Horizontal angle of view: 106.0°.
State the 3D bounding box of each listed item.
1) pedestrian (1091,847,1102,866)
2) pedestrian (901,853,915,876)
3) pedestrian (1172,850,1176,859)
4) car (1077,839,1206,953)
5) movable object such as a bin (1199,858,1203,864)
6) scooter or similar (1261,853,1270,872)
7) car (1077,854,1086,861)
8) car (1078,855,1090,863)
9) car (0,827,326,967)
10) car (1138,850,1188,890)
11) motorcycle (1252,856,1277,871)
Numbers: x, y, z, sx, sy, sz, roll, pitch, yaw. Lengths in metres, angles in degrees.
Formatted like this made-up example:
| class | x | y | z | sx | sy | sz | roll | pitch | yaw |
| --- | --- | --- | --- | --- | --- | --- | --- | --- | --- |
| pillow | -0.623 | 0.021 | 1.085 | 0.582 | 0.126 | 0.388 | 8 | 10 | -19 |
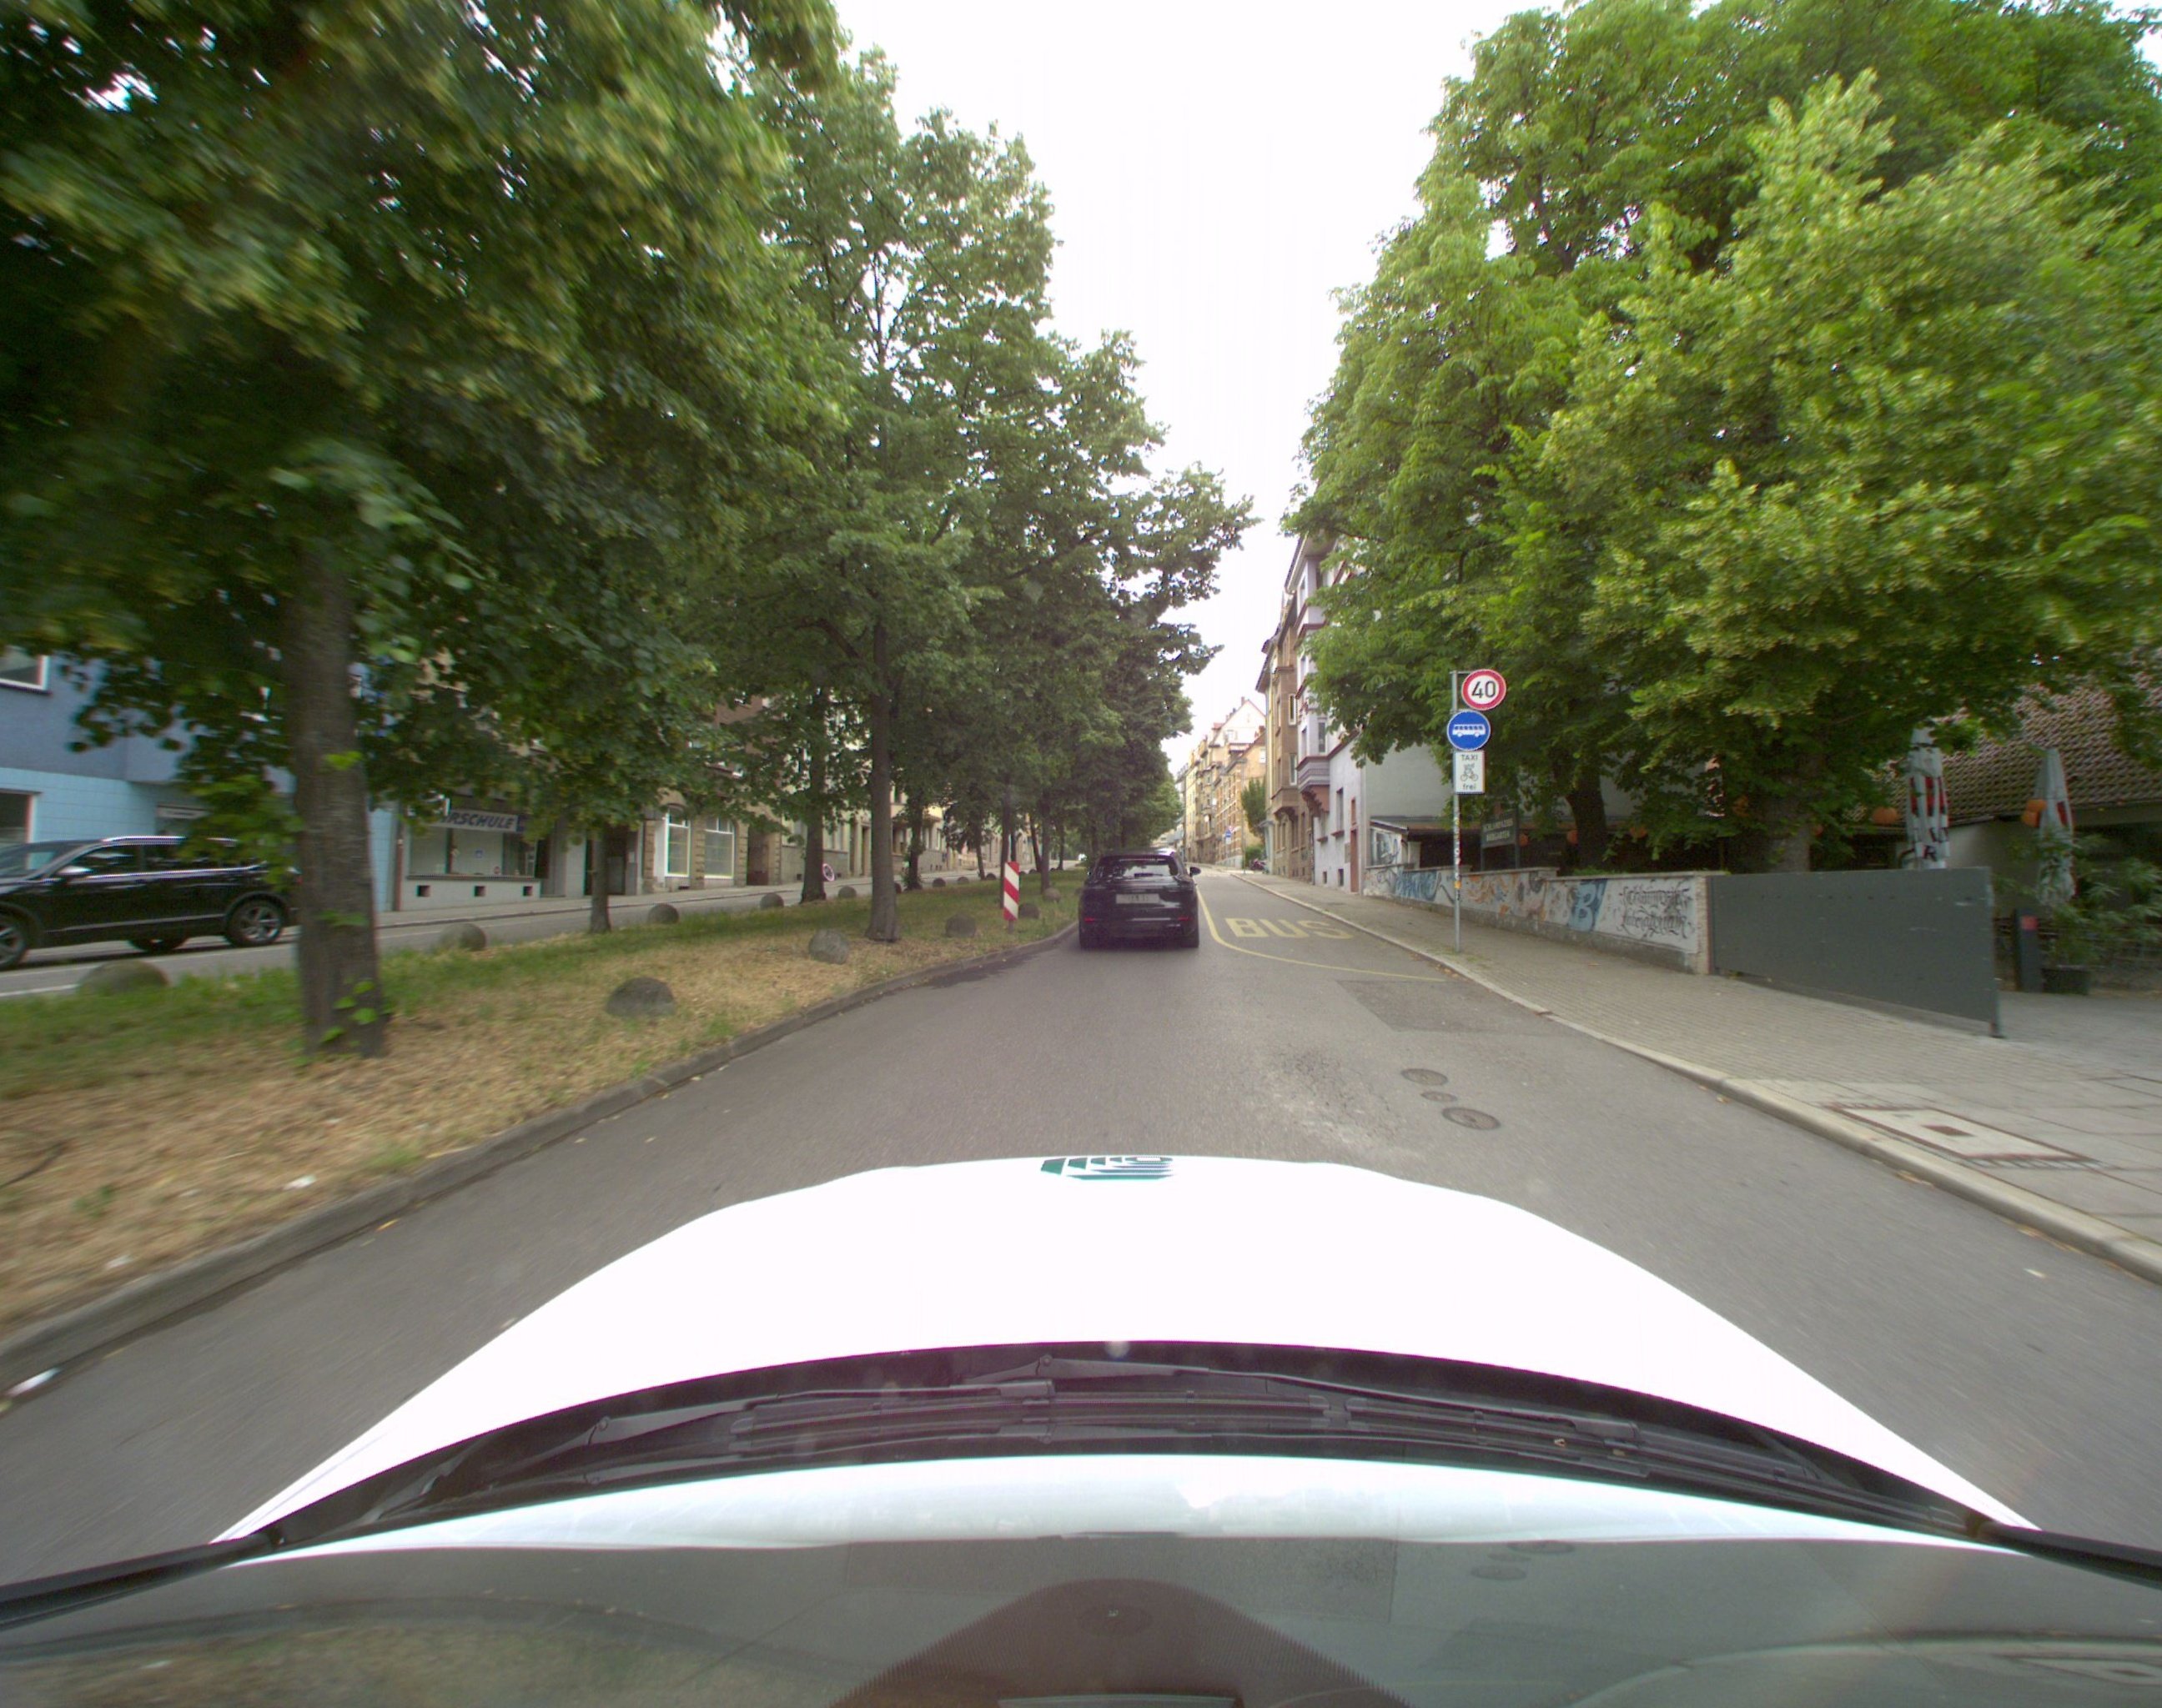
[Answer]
| class | x | y | z | sx | sy | sz | roll | pitch | yaw |
| --- | --- | --- | --- | --- | --- | --- | --- | --- | --- |
| pedestrian | 1.468 | 0.216 | 78.480 | 0.829 | 1.712 | 1.125 | -3 | -3 | 6 |
| pedestrian | -11.105 | 0.644 | 52.273 | 0.695 | 1.460 | 0.705 | 1 | 0 | 7 |
| pedestrian | 18.680 | 0.155 | 164.101 | 0.748 | 1.693 | 0.858 | 0 | -2 | 1 |
| car | 1.106 | 0.616 | 14.549 | 1.984 | 1.665 | 4.006 | 0 | 2 | 5 |
| movable object such as a bin | 18.409 | 1.124 | 125.036 | 0.592 | 0.904 | 0.563 | 1 | -1 | 2 |
| scooter or similar | 12.662 | 0.562 | 55.825 | 0.408 | 1.210 | 1.147 | -2 | 2 | 7 |
| car | 0.113 | 0.686 | 178.607 | 1.700 | 1.382 | 4.296 | -1 | 0 | 5 |
| car | 0.587 | 0.962 | 159.740 | 1.699 | 1.382 | 4.678 | -1 | 0 | 8 |
| car | -13.430 | 0.559 | 11.000 | 1.807 | 1.637 | 4.686 | -2 | -1 | 5 |
| car | 3.311 | 0.638 | 32.405 | 1.753 | 1.465 | 3.600 | 1 | -1 | 9 |
| motorcycle | 16.646 | 0.885 | 73.881 | 2.047 | 1.268 | 1.011 | 2 | 0 | 2 |
